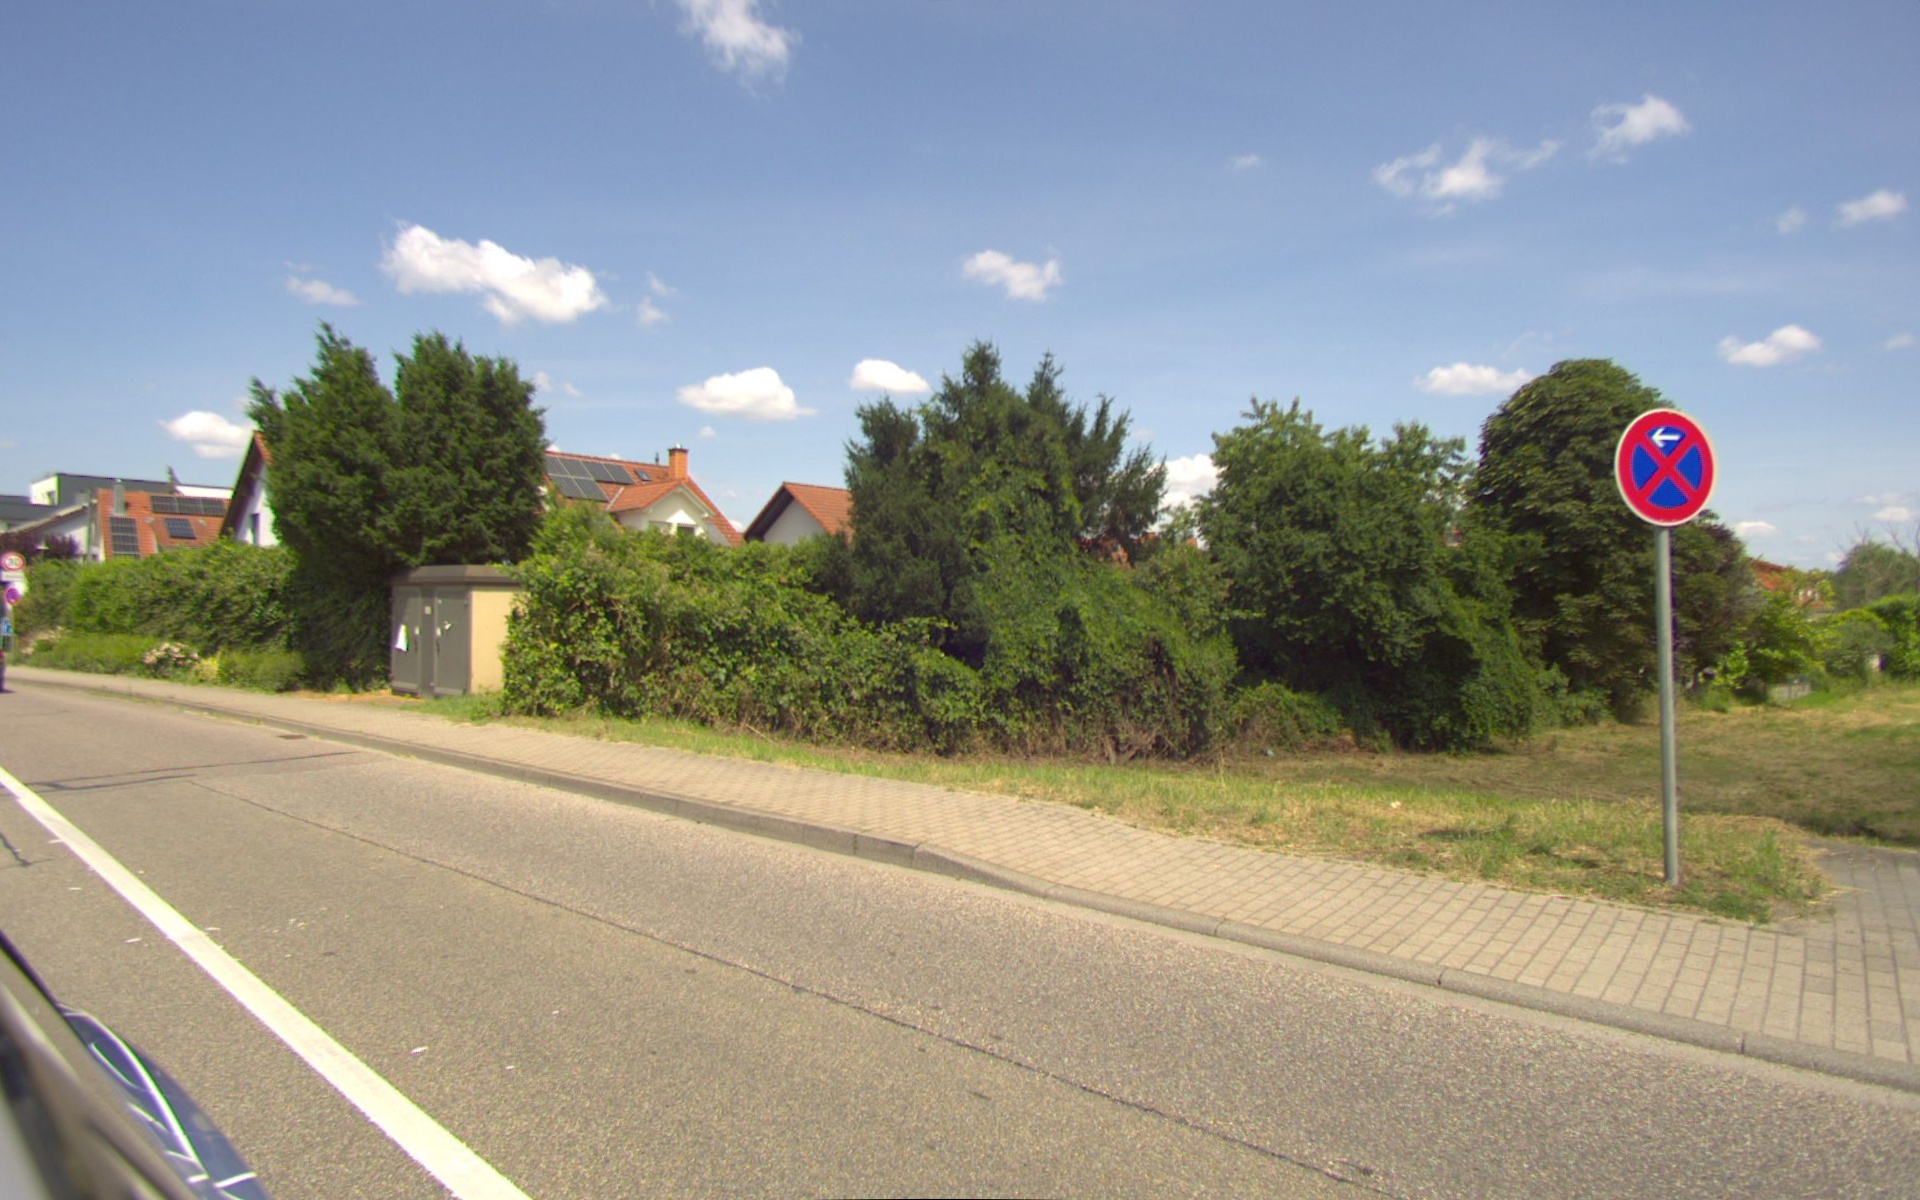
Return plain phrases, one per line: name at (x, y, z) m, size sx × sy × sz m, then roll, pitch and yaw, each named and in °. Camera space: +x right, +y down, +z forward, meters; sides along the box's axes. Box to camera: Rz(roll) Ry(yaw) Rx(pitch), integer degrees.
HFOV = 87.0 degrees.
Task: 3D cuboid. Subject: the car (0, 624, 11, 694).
car at (-21.686, 1.225, 21.438) m, size 3.868 × 1.444 × 1.763 m, roll -1°, pitch -3°, yaw 39°
